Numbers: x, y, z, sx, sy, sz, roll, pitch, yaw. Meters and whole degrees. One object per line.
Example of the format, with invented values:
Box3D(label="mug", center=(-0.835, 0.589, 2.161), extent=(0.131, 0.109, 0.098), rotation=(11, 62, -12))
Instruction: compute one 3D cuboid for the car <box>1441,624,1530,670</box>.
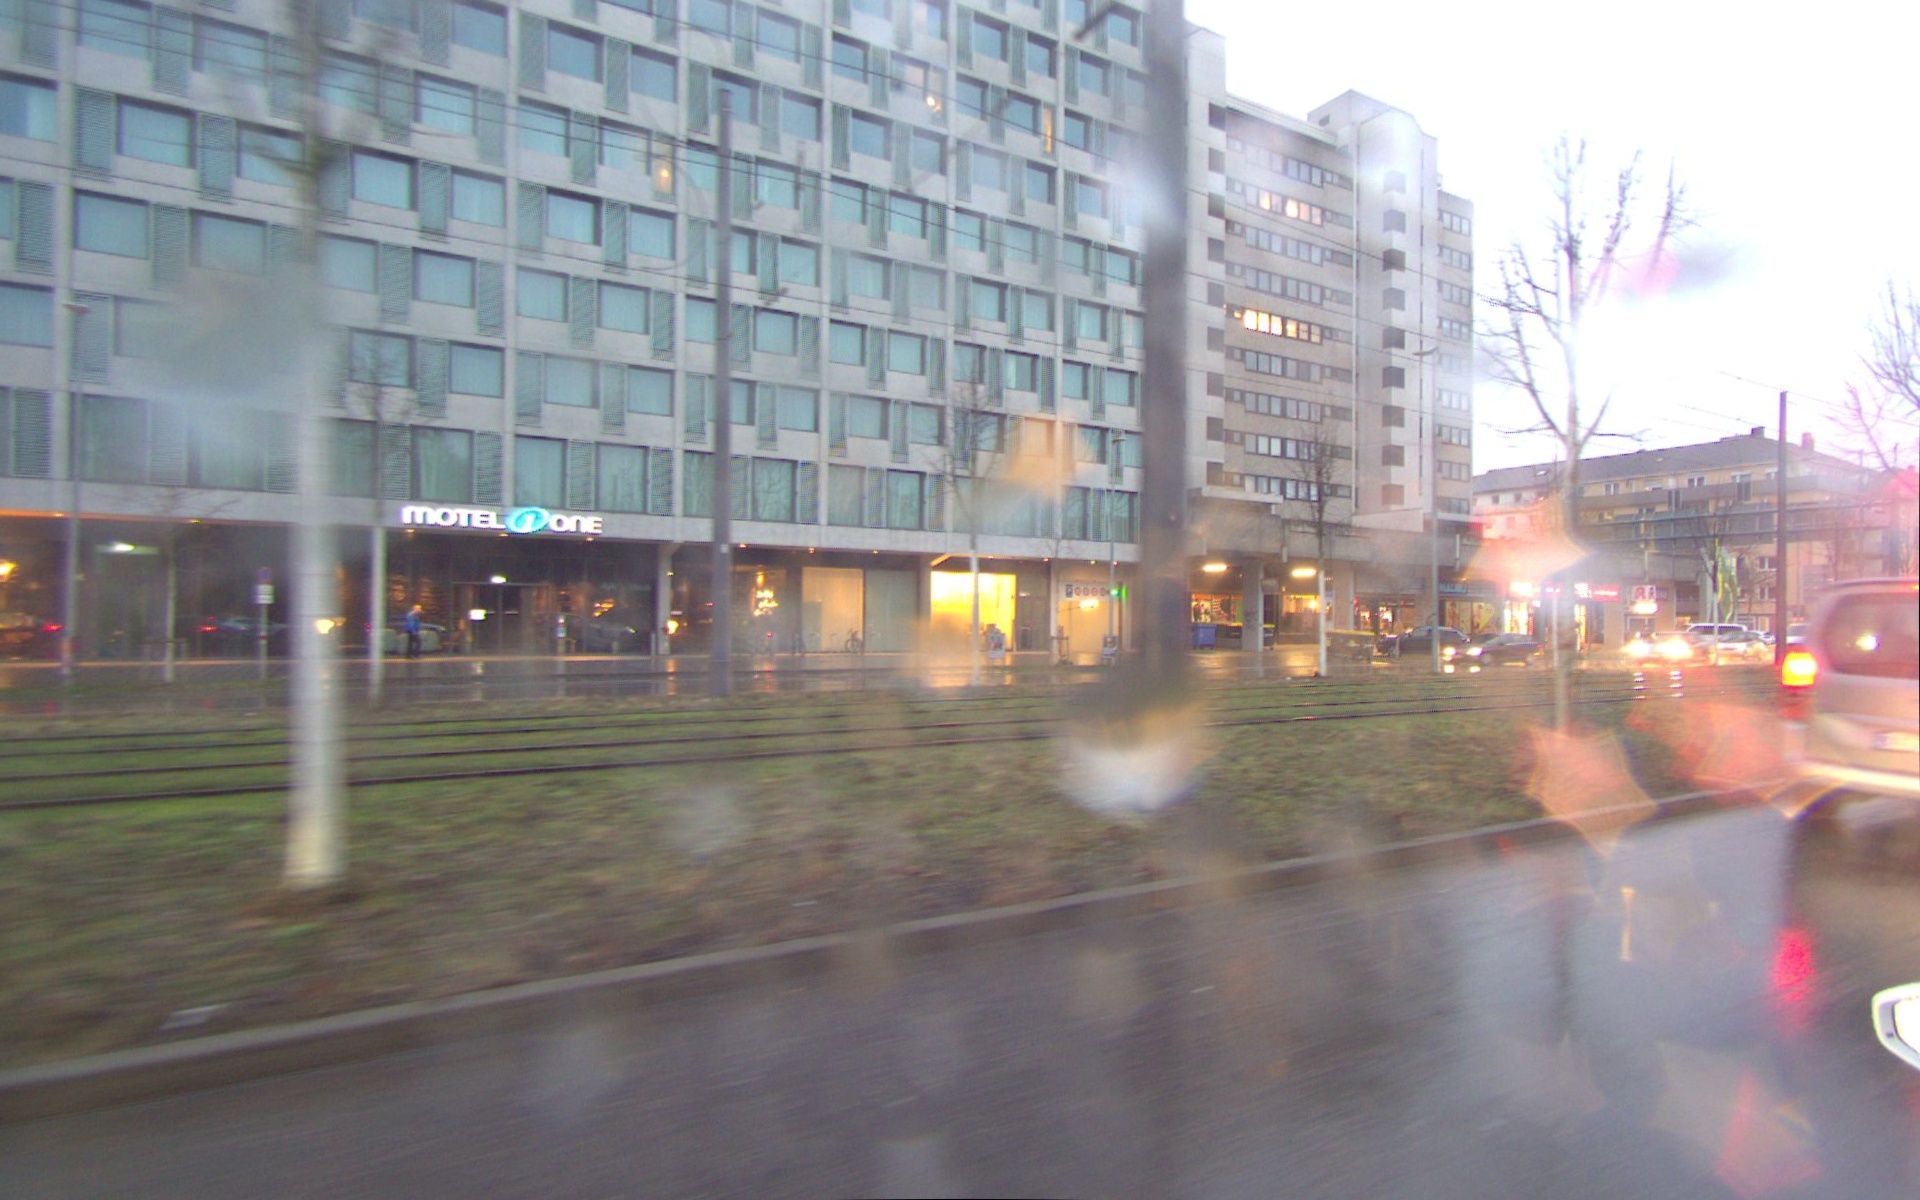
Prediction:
Box3D(label="car", center=(23.015, 2.043, 43.944), extent=(3.881, 1.910, 1.714), rotation=(1, -1, -31))

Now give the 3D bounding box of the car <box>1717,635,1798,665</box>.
Box3D(label="car", center=(43.335, 2.667, 54.558), extent=(4.736, 1.536, 1.887), rotation=(1, -1, -30))

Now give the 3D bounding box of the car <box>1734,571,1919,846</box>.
Box3D(label="car", center=(8.053, 0.744, 7.632), extent=(4.481, 1.759, 1.786), rotation=(2, 0, -29))

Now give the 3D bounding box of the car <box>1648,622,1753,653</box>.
Box3D(label="car", center=(47.764, 2.416, 64.936), extent=(5.059, 1.937, 2.001), rotation=(0, -1, 15))

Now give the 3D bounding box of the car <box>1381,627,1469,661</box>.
Box3D(label="car", center=(23.377, 2.205, 50.581), extent=(3.925, 1.405, 1.935), rotation=(3, 1, 26))

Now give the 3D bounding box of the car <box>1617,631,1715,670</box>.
Box3D(label="car", center=(28.092, 1.979, 39.931), extent=(3.664, 1.450, 1.886), rotation=(1, -1, -31))

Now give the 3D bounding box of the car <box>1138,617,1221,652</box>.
Box3D(label="car", center=(11.394, 1.778, 52.417), extent=(1.709, 1.718, 4.336), rotation=(1, -1, -32))
